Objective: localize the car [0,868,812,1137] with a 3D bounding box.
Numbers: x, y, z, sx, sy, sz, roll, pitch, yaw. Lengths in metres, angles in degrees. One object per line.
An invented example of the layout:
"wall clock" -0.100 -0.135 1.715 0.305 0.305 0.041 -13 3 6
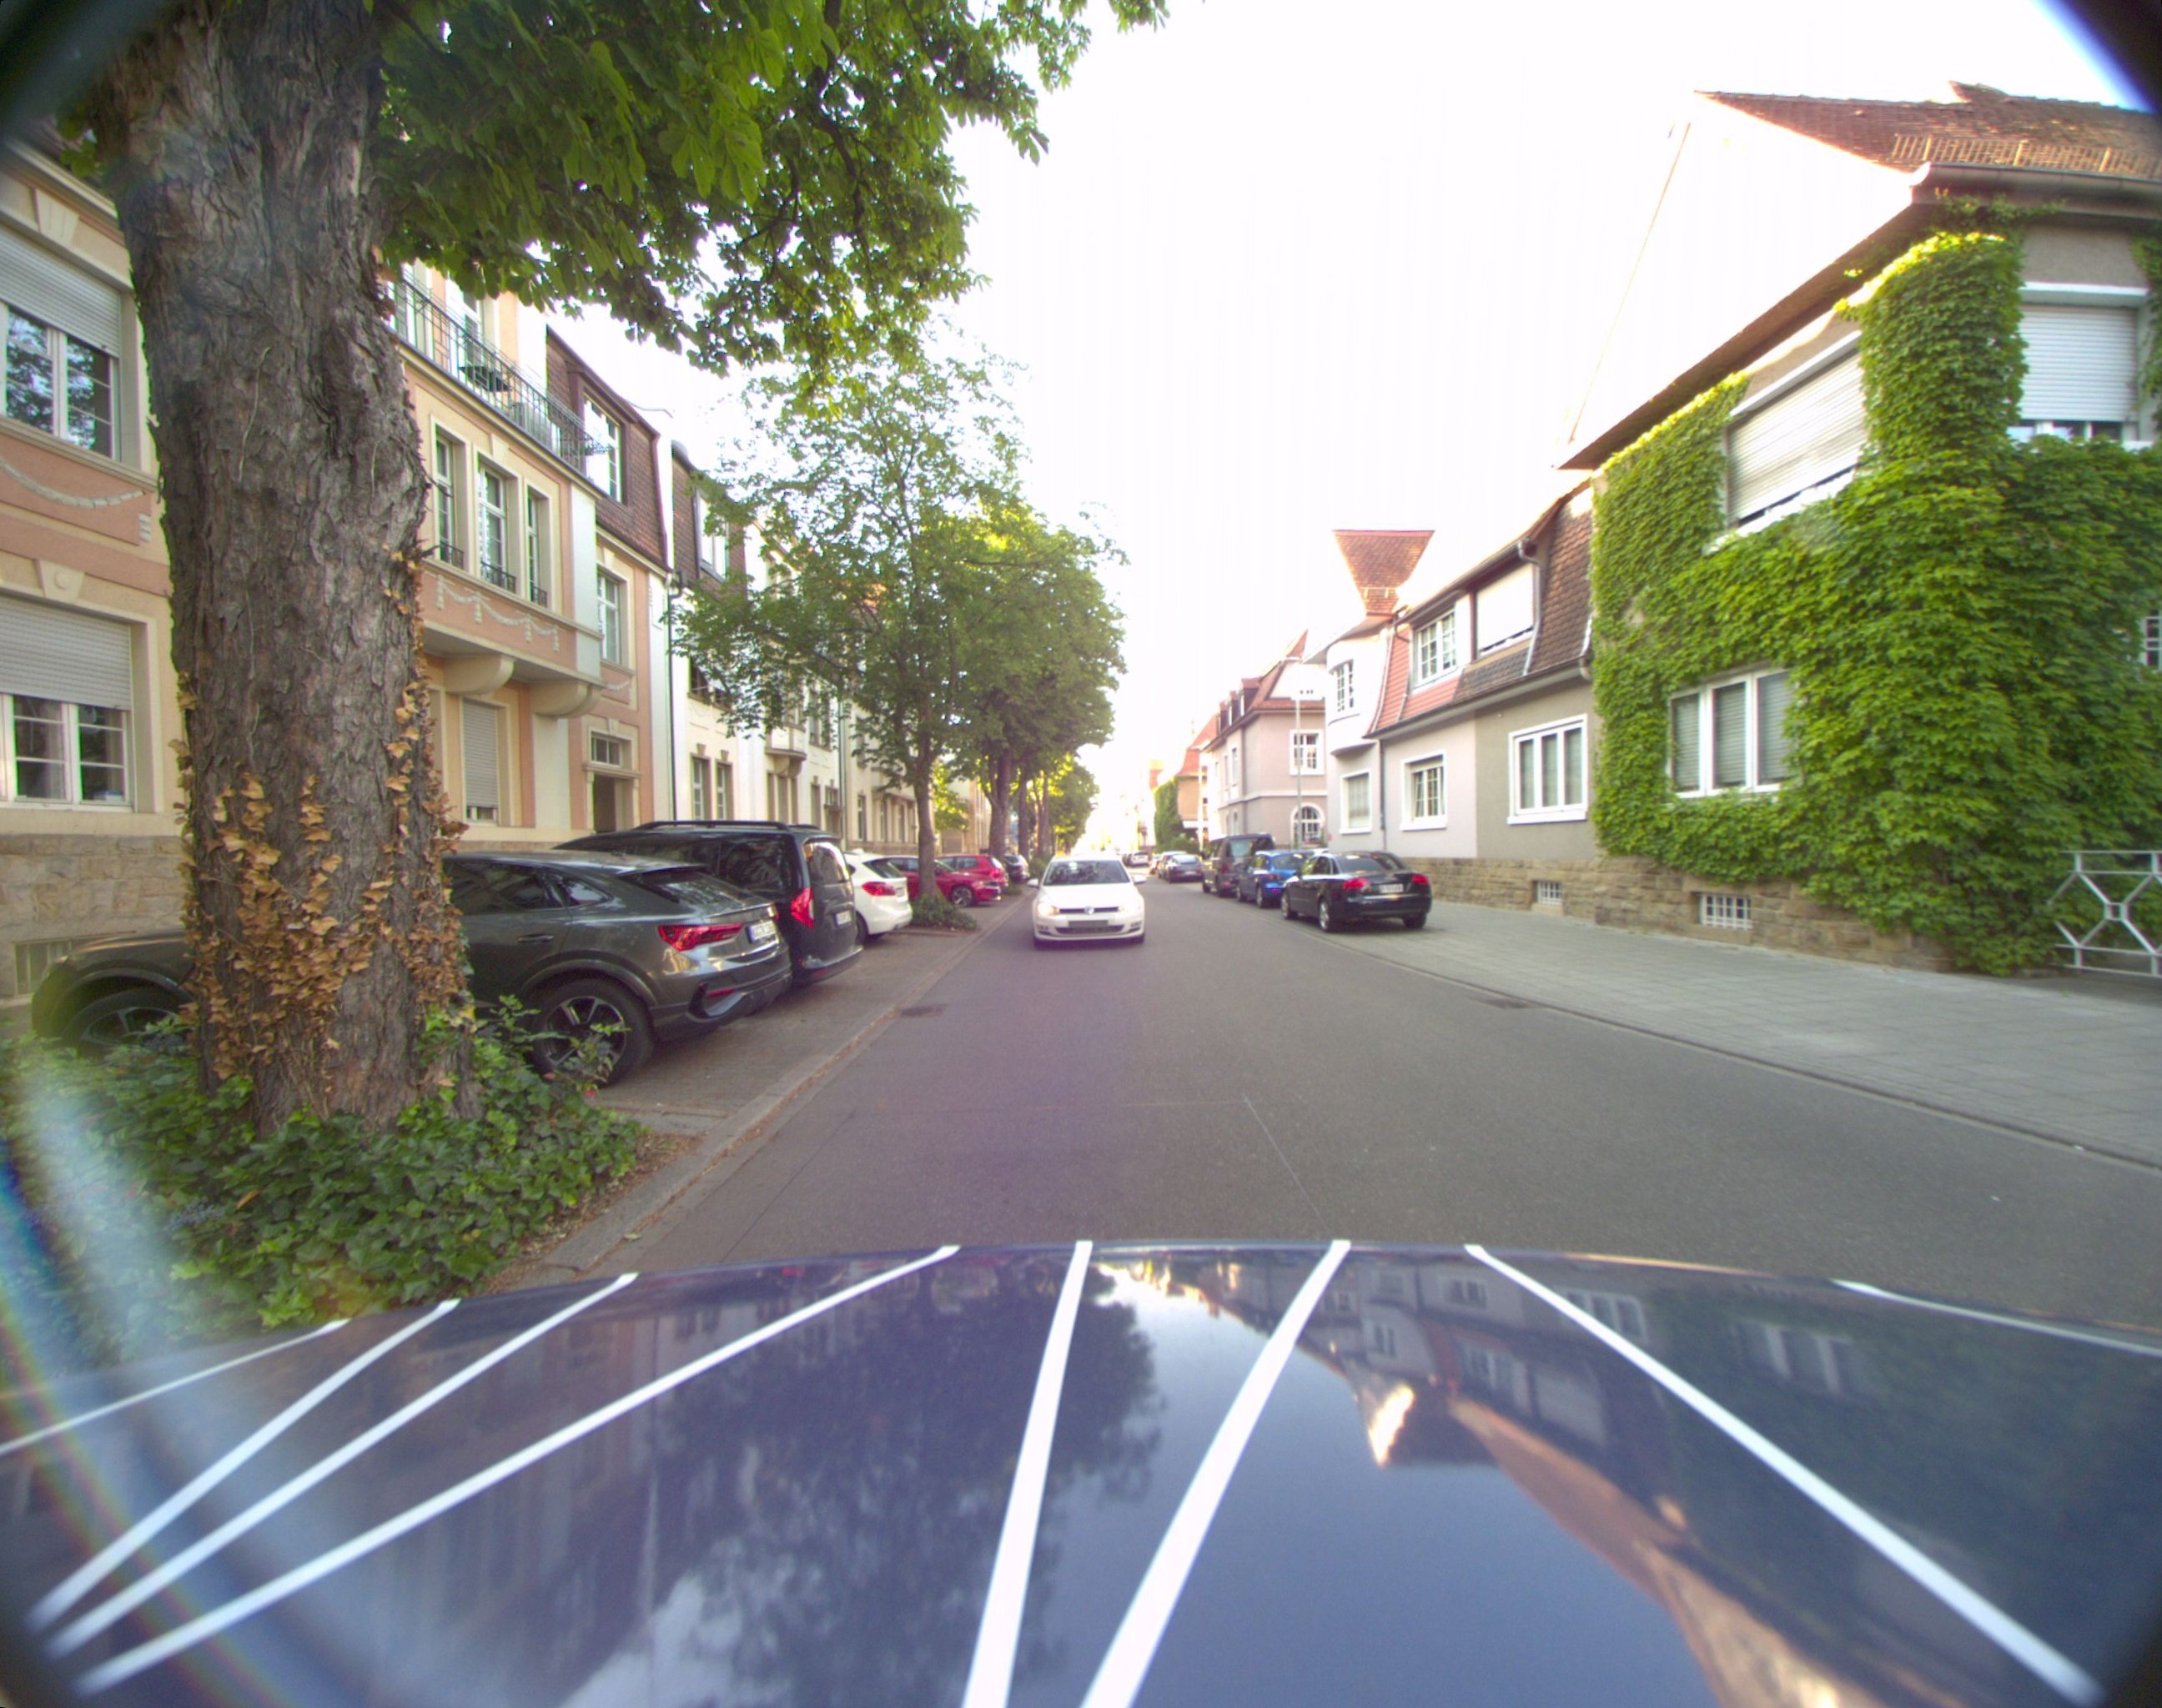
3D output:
"car" -4.534 0.895 5.509 4.522 1.514 1.844 0 1 -4

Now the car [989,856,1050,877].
"car" -3.561 0.725 44.438 3.399 1.143 1.542 0 1 2

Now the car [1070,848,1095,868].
"car" 0.164 0.313 58.743 1.819 1.454 4.072 -2 0 1

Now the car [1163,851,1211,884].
"car" 5.065 0.590 36.669 1.932 1.376 4.063 -3 1 4

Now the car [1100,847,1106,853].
"car" 5.843 -1.025 202.670 1.699 1.520 3.677 -3 1 2

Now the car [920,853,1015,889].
"car" -4.674 0.707 31.712 3.680 1.458 1.576 0 1 2

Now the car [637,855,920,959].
"car" -4.826 0.815 12.533 3.950 1.568 1.719 0 1 0

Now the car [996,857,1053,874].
"car" -3.512 0.718 47.644 3.399 1.057 1.542 0 1 2

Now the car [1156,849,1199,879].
"car" 5.287 0.499 42.146 1.932 1.458 4.062 -3 1 2

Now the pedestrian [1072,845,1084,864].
"pedestrian" -0.344 0.018 79.283 1.119 1.927 1.097 -3 1 -1

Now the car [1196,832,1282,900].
"car" 5.150 0.350 25.356 1.842 1.964 4.612 -3 1 0

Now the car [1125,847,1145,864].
"car" 5.338 0.108 75.273 1.699 1.520 3.677 -3 1 2

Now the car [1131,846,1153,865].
"car" 5.424 0.142 68.008 1.699 1.558 3.677 -3 1 2

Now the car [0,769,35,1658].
"car" -4.588 0.770 0.523 4.763 1.864 1.896 0 1 -4

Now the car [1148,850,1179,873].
"car" 5.443 0.465 50.385 1.662 1.354 3.677 -3 1 2

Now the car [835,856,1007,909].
"car" -4.529 0.797 21.940 4.530 1.443 1.867 0 1 3

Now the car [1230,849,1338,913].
"car" 5.285 0.642 20.345 1.768 1.438 4.062 -3 1 0

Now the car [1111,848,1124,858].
"car" 5.551 -0.173 115.863 1.699 1.520 3.677 -3 1 2

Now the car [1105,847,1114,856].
"car" 5.574 -0.492 149.121 1.699 1.520 3.677 -3 1 2

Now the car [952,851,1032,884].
"car" -4.277 0.619 36.841 3.680 1.548 1.576 0 1 2

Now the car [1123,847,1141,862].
"car" 5.439 0.049 80.765 1.699 1.520 3.677 -3 1 2

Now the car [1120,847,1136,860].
"car" 5.566 -0.059 91.011 1.699 1.520 3.677 -3 1 2

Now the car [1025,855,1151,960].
"car" 0.134 0.805 13.322 1.819 1.454 4.072 -2 0 1

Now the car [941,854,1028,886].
"car" -4.310 0.710 34.328 3.680 1.390 1.576 0 1 2

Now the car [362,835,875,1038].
"car" -4.431 0.737 7.833 4.121 1.827 1.844 0 1 -2

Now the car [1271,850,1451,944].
"car" 5.142 0.695 14.663 1.806 1.438 4.428 -3 1 0

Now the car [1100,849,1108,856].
"car" 5.286 -0.288 173.291 1.699 1.520 3.677 -3 1 2

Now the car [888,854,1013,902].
"car" -4.134 0.748 24.468 3.680 1.473 1.659 0 1 3
